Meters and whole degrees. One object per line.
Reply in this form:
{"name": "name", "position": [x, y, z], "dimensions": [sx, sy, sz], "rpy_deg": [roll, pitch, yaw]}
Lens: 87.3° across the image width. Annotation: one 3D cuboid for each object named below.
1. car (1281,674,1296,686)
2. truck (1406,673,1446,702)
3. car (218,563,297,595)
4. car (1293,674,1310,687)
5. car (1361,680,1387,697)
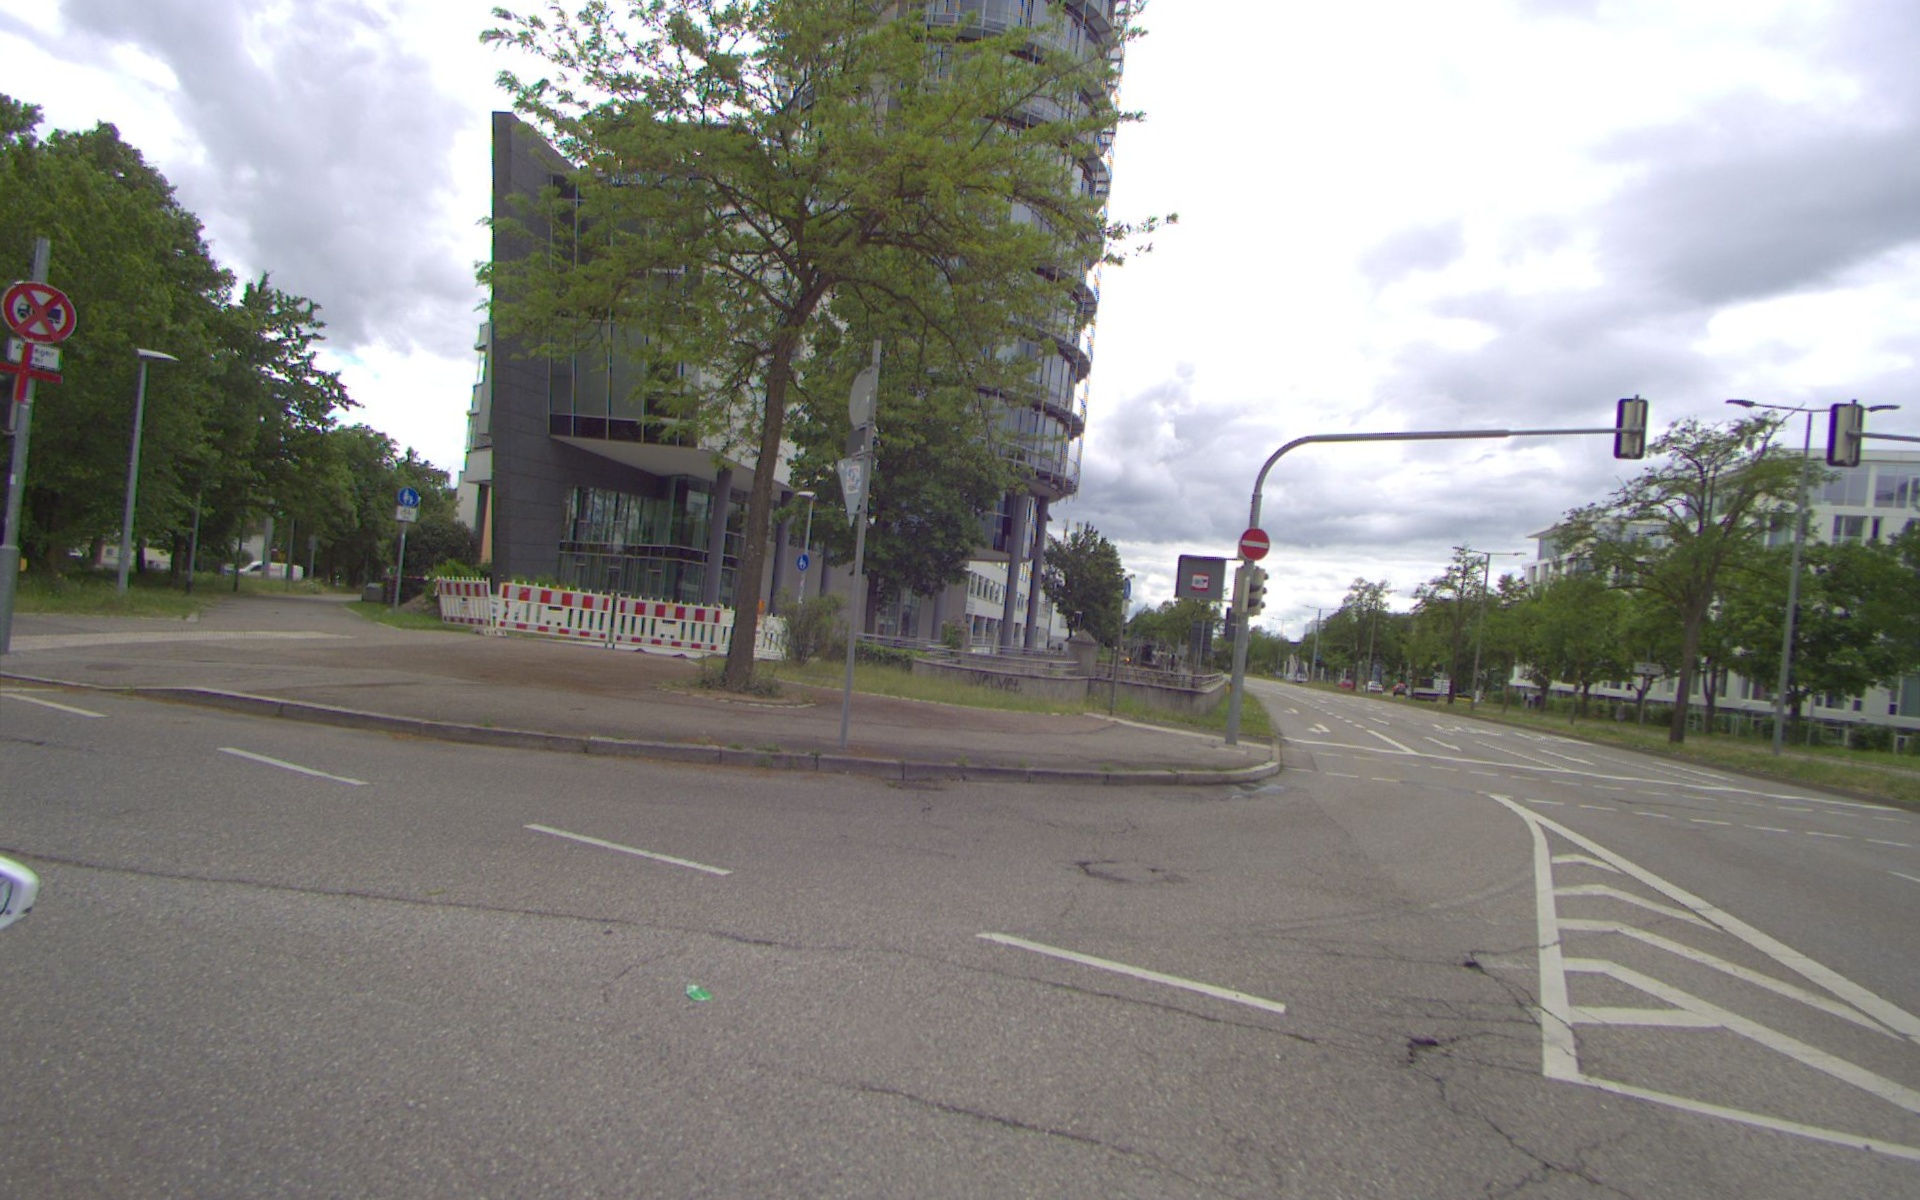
{"name": "car", "position": [56.813, 13.825, 173.952], "dimensions": [1.962, 1.669, 4.008], "rpy_deg": [7, -3, 13]}
{"name": "truck", "position": [44.390, 8.366, 95.940], "dimensions": [2.515, 2.402, 4.597], "rpy_deg": [7, -3, 15]}
{"name": "car", "position": [-79.964, -2.358, 114.663], "dimensions": [2.051, 2.550, 6.969], "rpy_deg": [6, -3, 33]}
{"name": "car", "position": [54.231, 12.806, 159.852], "dimensions": [1.962, 1.669, 4.007], "rpy_deg": [7, -3, 13]}
{"name": "car", "position": [48.290, 10.268, 117.324], "dimensions": [1.840, 1.692, 3.893], "rpy_deg": [7, -3, 10]}
